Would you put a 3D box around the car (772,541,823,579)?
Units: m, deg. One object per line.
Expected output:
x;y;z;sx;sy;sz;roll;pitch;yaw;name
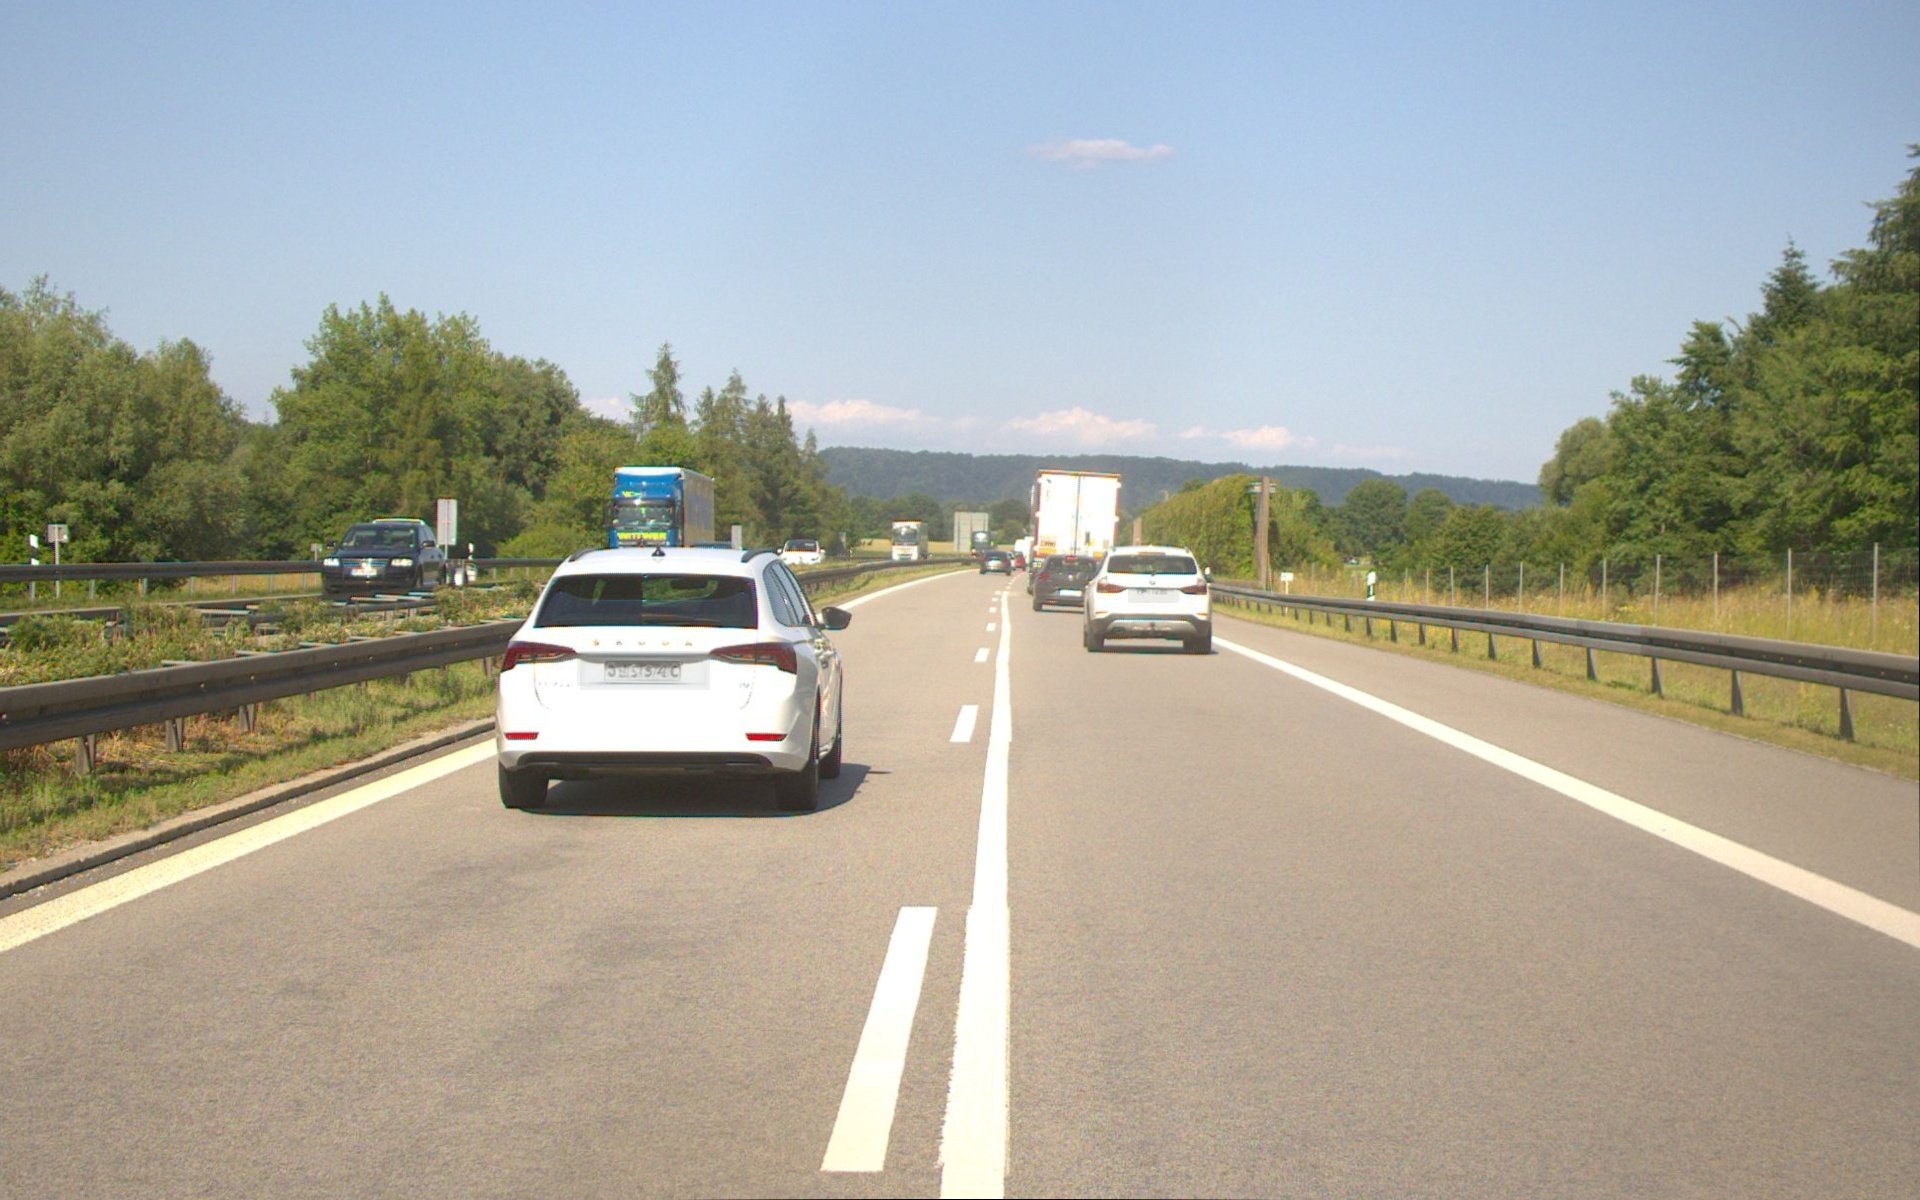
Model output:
-7.077;-1.757;150.123;1.993;1.659;4.634;0;1;0;car

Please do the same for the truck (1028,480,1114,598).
3.848;-2.124;120.081;2.840;3.953;7.044;1;1;1;truck

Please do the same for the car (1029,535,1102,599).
2.589;-0.831;84.748;1.665;1.449;4.544;3;1;1;car

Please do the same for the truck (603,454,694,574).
-11.506;-3.170;127.531;2.740;4.288;6.335;1;1;0;truck

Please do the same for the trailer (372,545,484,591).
-11.496;-0.716;74.486;1.742;0.933;4.020;1;1;1;trailer

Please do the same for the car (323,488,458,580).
-11.543;-1.350;69.976;1.849;1.797;4.871;0;1;1;car

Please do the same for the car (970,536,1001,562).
1.555;-3.072;206.366;1.771;1.416;4.495;3;1;1;car

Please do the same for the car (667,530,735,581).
-7.769;-1.356;103.533;1.680;1.454;4.926;-1;1;0;car

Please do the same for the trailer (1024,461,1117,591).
3.647;-2.423;113.338;2.818;3.953;14.160;1;1;2;trailer

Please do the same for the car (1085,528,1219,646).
2.771;-0.232;50.574;1.685;1.490;4.987;4;2;1;car

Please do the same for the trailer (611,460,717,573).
-11.465;-3.222;134.502;2.787;4.146;14.395;1;1;0;trailer

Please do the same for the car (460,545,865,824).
-1.630;0.398;20.590;1.840;1.416;5.254;1;1;1;car
